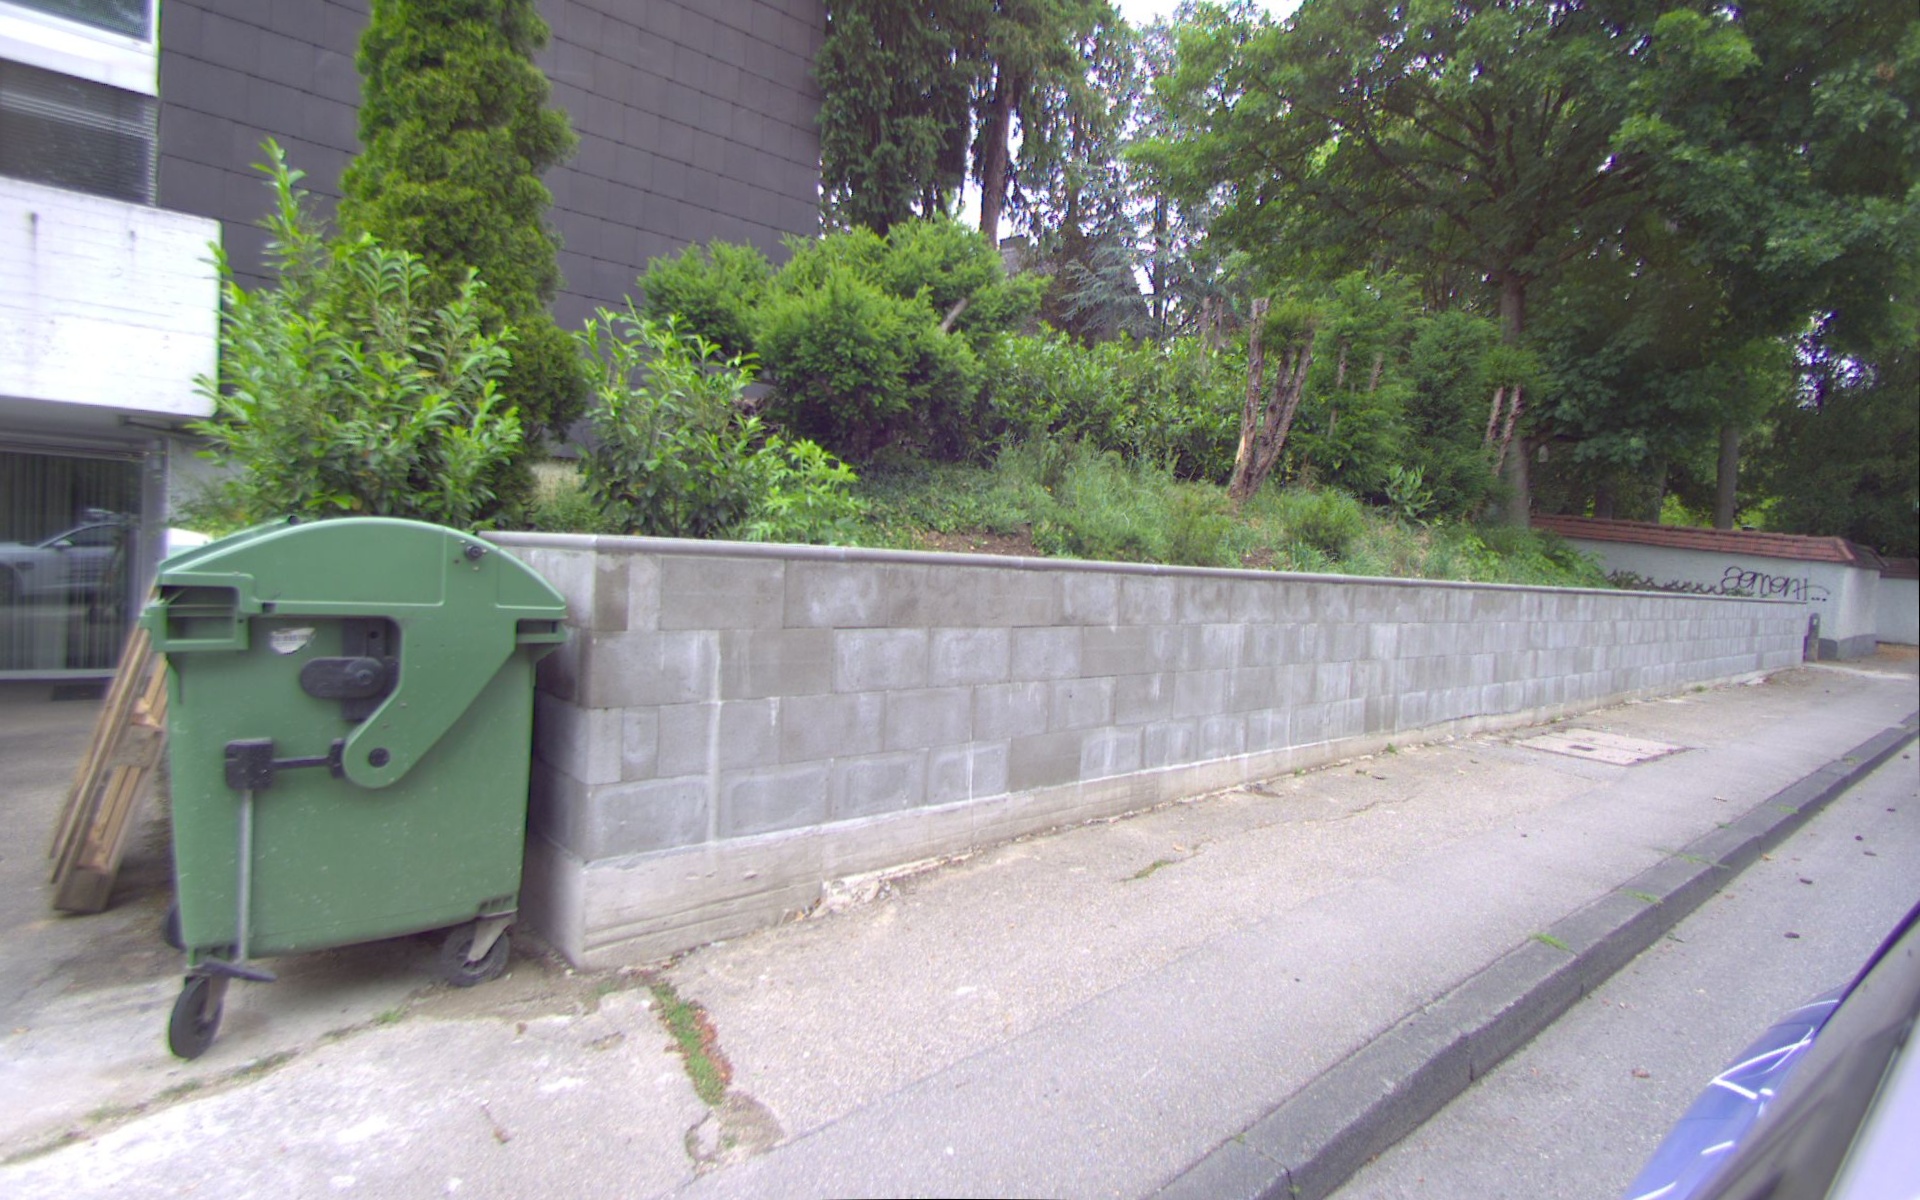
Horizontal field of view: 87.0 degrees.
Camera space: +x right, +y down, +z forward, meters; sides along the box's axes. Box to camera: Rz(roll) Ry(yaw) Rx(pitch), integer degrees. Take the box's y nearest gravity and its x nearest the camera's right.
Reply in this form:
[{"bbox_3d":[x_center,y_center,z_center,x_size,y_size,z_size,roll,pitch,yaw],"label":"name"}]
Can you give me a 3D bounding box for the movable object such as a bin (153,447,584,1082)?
[{"bbox_3d":[-1.876,0.378,3.180,1.014,1.549,1.037,0,2,-39],"label":"movable object such as a bin"}]
